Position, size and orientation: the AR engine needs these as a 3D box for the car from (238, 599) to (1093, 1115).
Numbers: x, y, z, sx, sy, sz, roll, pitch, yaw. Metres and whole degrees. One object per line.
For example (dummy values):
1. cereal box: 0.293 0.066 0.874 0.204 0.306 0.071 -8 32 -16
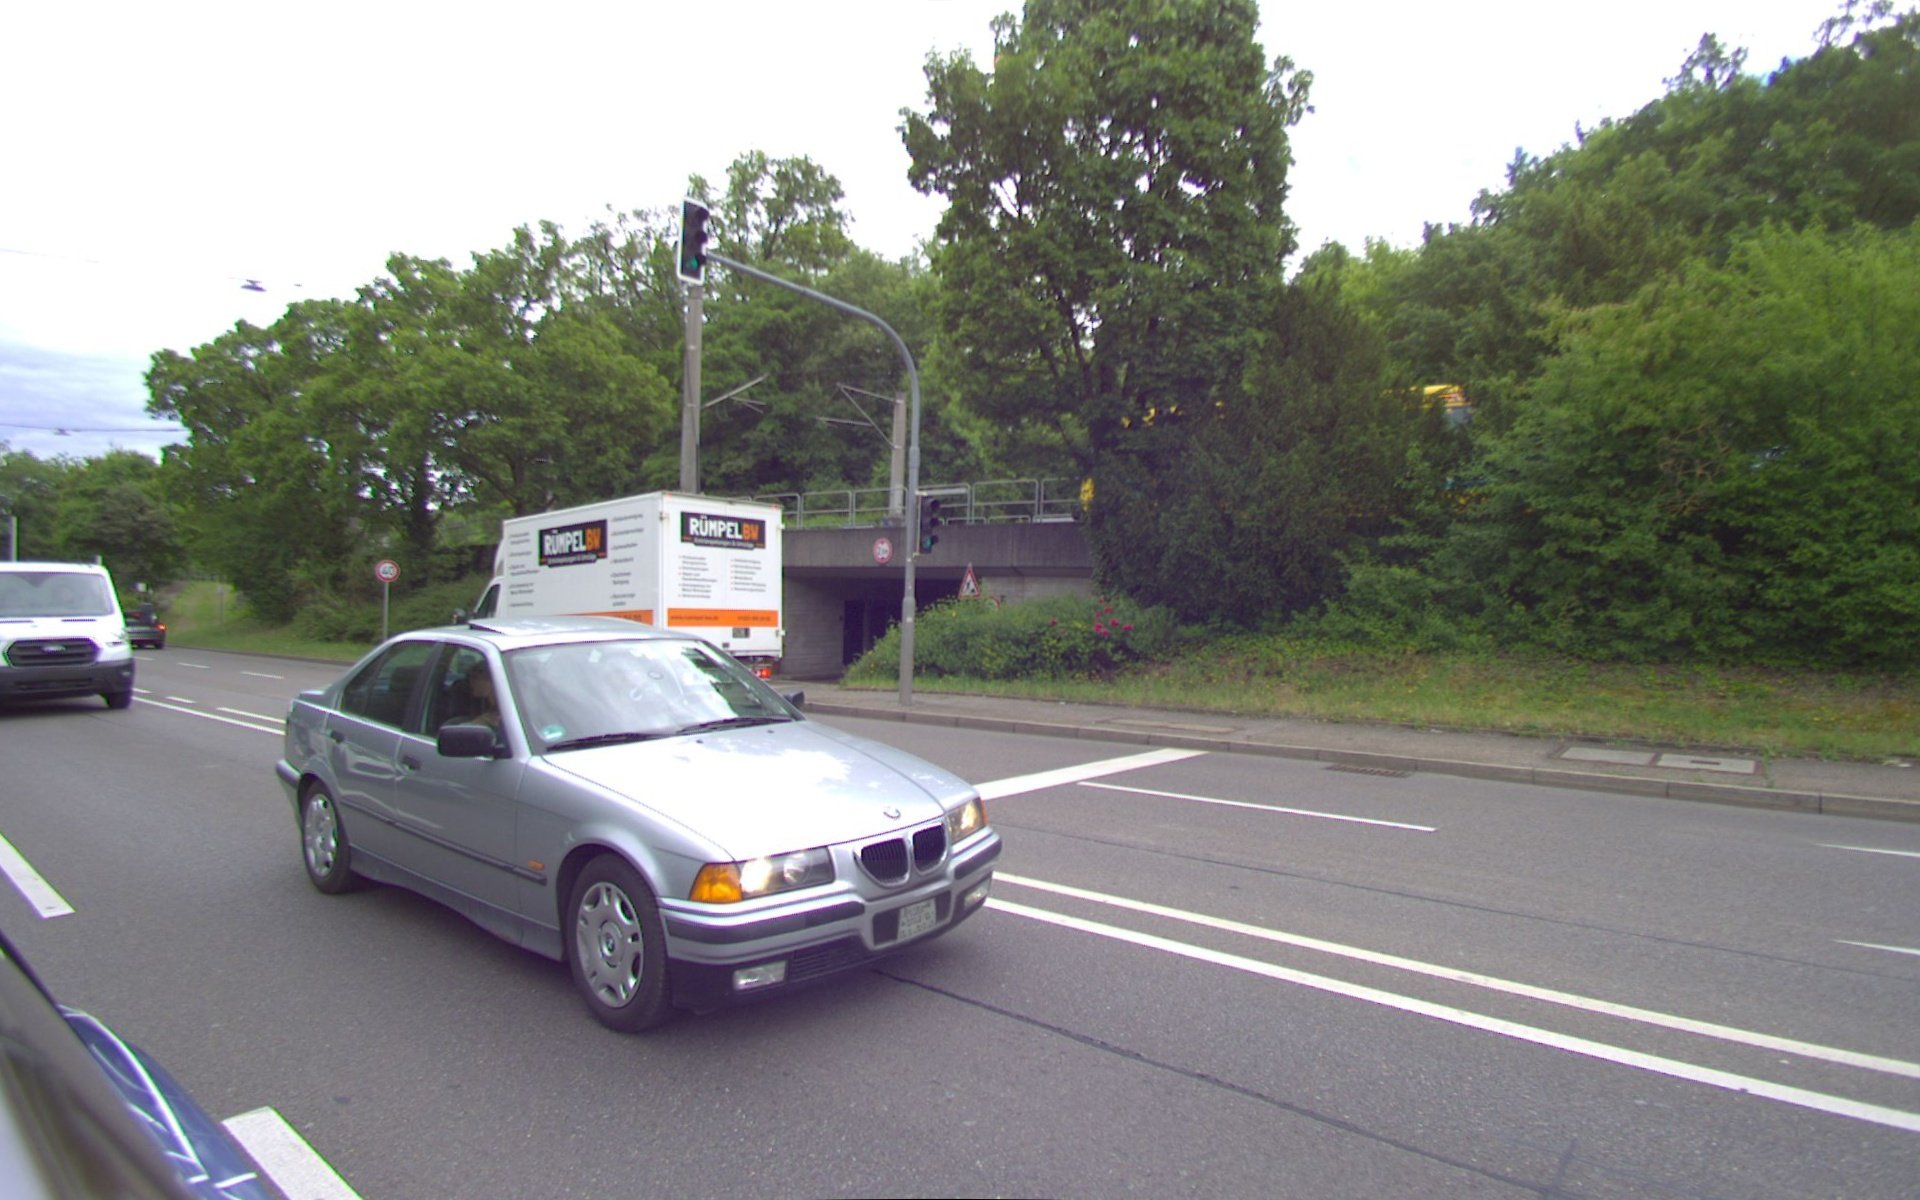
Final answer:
1. car: -1.773 0.726 4.922 4.611 1.404 1.735 -1 -1 40

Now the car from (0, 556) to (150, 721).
1. car: -14.799 0.517 15.607 6.662 2.142 2.225 -1 0 39

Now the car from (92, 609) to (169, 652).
1. car: -31.369 1.126 38.234 3.747 1.552 1.656 -1 -1 41

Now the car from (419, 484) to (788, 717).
1. car: -6.088 0.025 16.557 7.228 3.079 2.248 -1 0 39

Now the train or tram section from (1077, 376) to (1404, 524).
1. train or tram section: 7.141 -3.703 26.659 8.137 3.066 2.039 1 2 37

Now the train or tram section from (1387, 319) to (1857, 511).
1. train or tram section: 13.726 -3.677 21.785 8.137 3.066 2.039 1 2 37
